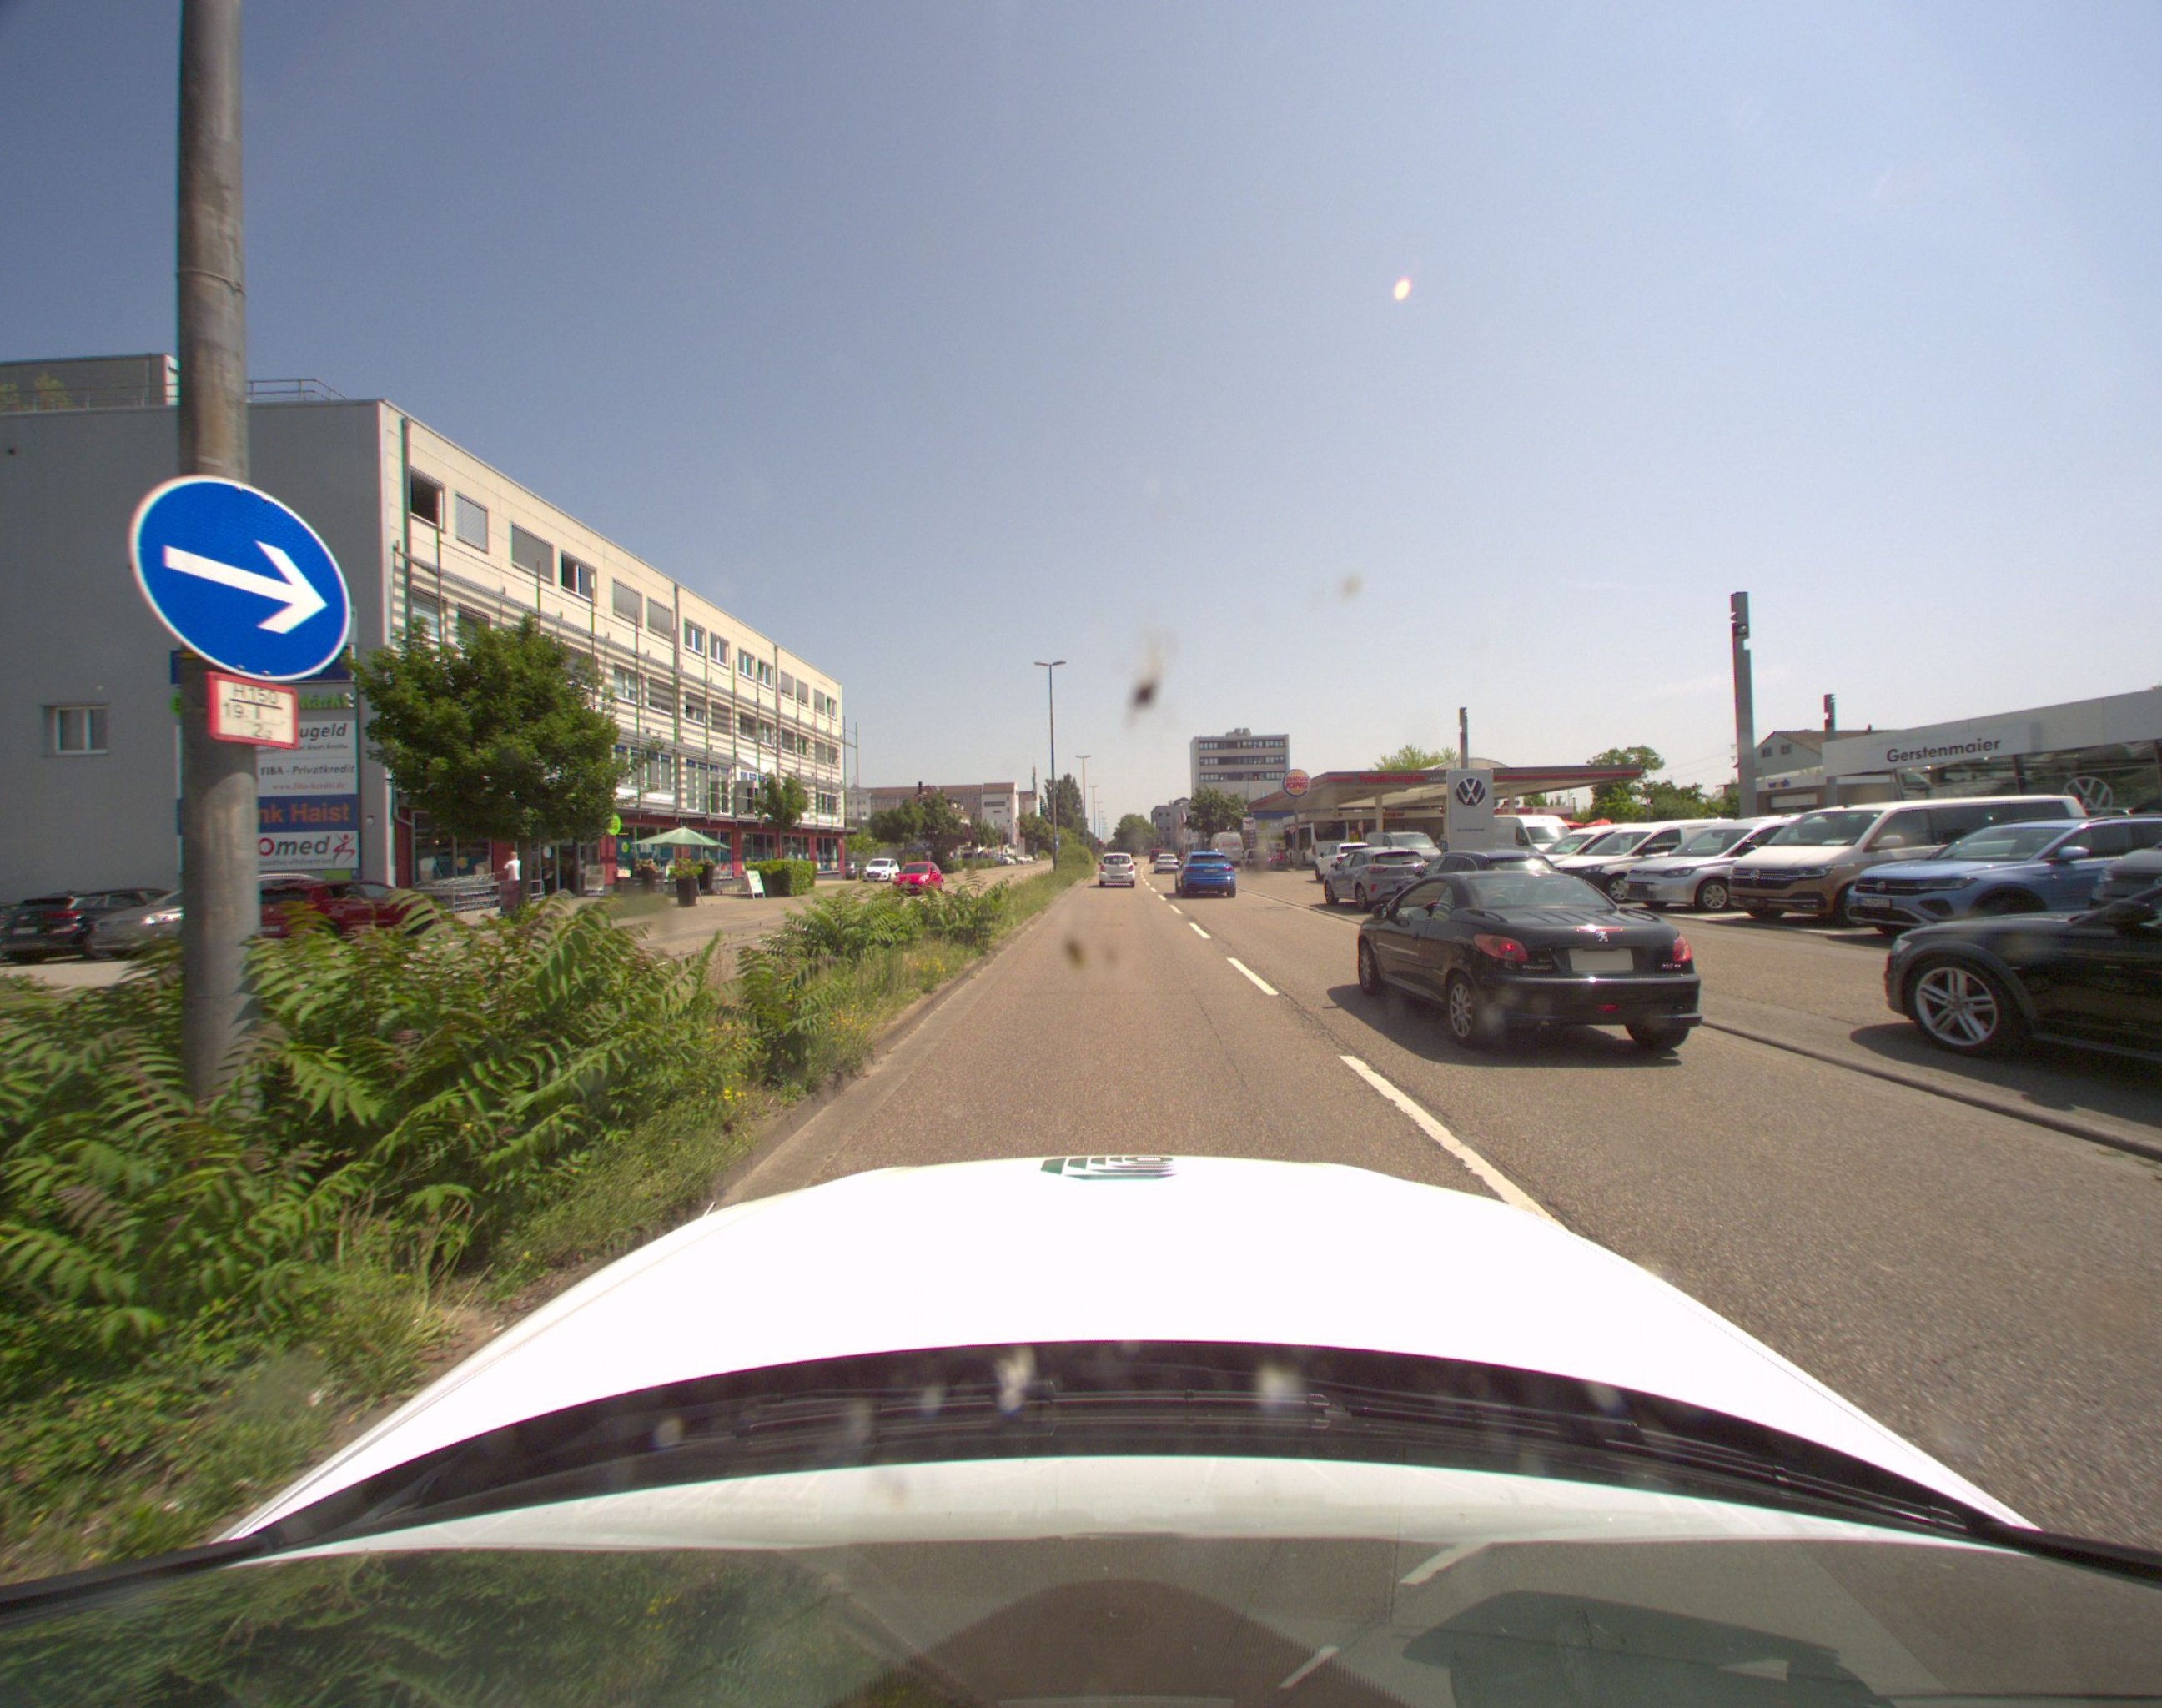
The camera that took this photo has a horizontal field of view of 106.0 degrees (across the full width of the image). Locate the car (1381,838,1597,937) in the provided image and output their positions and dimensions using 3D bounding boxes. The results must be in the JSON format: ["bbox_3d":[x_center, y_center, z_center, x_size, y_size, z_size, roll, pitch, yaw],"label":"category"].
[{"bbox_3d":[7.542,0.577,15.698,1.708,1.548,4.789,-2,-1,0],"label":"car"}]

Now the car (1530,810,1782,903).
[{"bbox_3d":[13.334,0.042,19.098,4.540,1.888,1.857,-2,0,1],"label":"car"}]

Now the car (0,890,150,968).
[{"bbox_3d":[-25.152,1.773,19.162,1.769,1.640,4.002,-2,0,2],"label":"car"}]

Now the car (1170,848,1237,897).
[{"bbox_3d":[4.287,0.616,29.061,1.905,1.597,4.398,0,0,2],"label":"car"}]

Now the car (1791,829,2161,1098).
[{"bbox_3d":[7.016,0.594,4.351,1.849,1.481,5.153,-3,0,-1],"label":"car"}]

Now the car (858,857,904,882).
[{"bbox_3d":[-12.827,1.024,52.570,1.671,1.495,4.047,0,-2,5],"label":"car"}]

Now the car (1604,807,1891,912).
[{"bbox_3d":[13.201,0.105,16.340,4.136,1.781,1.881,-3,-1,1],"label":"car"}]

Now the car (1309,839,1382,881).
[{"bbox_3d":[11.105,0.213,34.514,1.661,1.596,4.615,-3,0,2],"label":"car"}]

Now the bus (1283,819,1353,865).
[{"bbox_3d":[17.431,-0.914,60.915,2.790,3.078,12.305,-1,1,6],"label":"bus"}]

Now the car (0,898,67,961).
[{"bbox_3d":[-28.116,1.975,19.826,1.692,1.534,4.002,-3,0,2],"label":"car"}]

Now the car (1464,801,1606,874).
[{"bbox_3d":[18.943,-0.645,34.542,2.247,2.675,7.021,-2,0,2],"label":"car"}]

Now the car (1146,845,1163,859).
[{"bbox_3d":[9.150,-0.214,101.991,1.789,1.729,3.972,0,-1,0],"label":"car"}]

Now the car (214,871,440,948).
[{"bbox_3d":[-17.622,1.226,19.313,1.653,1.467,3.799,-4,0,1],"label":"car"}]

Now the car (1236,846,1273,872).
[{"bbox_3d":[11.189,0.321,52.769,1.651,1.519,3.821,-3,0,2],"label":"car"}]

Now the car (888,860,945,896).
[{"bbox_3d":[-7.201,1.031,35.936,1.624,1.424,3.453,-3,-1,3],"label":"car"}]

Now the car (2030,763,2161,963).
[{"bbox_3d":[13.131,0.061,8.174,4.768,1.984,2.005,-1,2,2],"label":"car"}]

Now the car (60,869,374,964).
[{"bbox_3d":[-20.054,1.337,19.367,1.753,1.734,5.167,-4,0,1],"label":"car"}]

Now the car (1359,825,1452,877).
[{"bbox_3d":[13.528,-0.111,34.324,1.986,2.023,5.162,0,0,1],"label":"car"}]

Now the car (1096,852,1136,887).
[{"bbox_3d":[1.579,0.686,37.335,1.707,1.511,3.246,0,-1,0],"label":"car"}]

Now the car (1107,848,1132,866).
[{"bbox_3d":[3.179,0.262,67.936,1.824,1.450,3.998,0,-1,0],"label":"car"}]

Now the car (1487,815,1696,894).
[{"bbox_3d":[13.637,0.018,21.954,4.397,1.882,1.909,-2,0,1],"label":"car"}]

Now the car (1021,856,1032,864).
[{"bbox_3d":[-9.657,1.098,144.182,1.897,1.354,3.995,0,-2,-3],"label":"car"}]

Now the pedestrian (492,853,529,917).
[{"bbox_3d":[-17.045,0.914,24.344,0.673,1.866,0.499,-2,0,2],"label":"pedestrian"}]

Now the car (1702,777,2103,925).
[{"bbox_3d":[13.346,-0.059,13.466,4.625,2.013,1.960,-3,0,-1],"label":"car"}]

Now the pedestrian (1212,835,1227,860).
[{"bbox_3d":[10.589,-0.484,62.303,0.812,1.749,0.703,7,-3,2],"label":"pedestrian"}]

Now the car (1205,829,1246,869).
[{"bbox_3d":[11.648,-0.387,66.107,2.125,2.839,7.313,-5,0,2],"label":"car"}]

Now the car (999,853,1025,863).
[{"bbox_3d":[-11.152,0.598,131.929,3.968,1.552,1.867,-1,-2,4],"label":"car"}]

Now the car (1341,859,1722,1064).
[{"bbox_3d":[3.731,0.764,7.529,1.594,1.425,3.662,0,0,2],"label":"car"}]

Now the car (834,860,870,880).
[{"bbox_3d":[-19.309,1.391,68.843,1.762,1.547,4.002,-2,-2,3],"label":"car"}]

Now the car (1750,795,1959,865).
[{"bbox_3d":[32.122,-0.925,34.304,2.247,2.556,7.076,-2,0,2],"label":"car"}]

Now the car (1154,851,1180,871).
[{"bbox_3d":[6.217,0.490,59.390,1.660,1.399,3.796,-1,0,3],"label":"car"}]

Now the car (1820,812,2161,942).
[{"bbox_3d":[12.464,0.292,10.798,3.610,1.570,1.720,-1,-1,7],"label":"car"}]

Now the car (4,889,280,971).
[{"bbox_3d":[-21.958,1.696,19.328,1.732,1.465,4.003,-4,0,3],"label":"car"}]

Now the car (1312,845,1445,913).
[{"bbox_3d":[7.536,0.571,21.077,1.728,1.552,4.175,-1,0,-3],"label":"car"}]

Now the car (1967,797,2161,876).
[{"bbox_3d":[22.503,-0.394,17.845,3.969,1.571,1.862,-2,0,4],"label":"car"}]
